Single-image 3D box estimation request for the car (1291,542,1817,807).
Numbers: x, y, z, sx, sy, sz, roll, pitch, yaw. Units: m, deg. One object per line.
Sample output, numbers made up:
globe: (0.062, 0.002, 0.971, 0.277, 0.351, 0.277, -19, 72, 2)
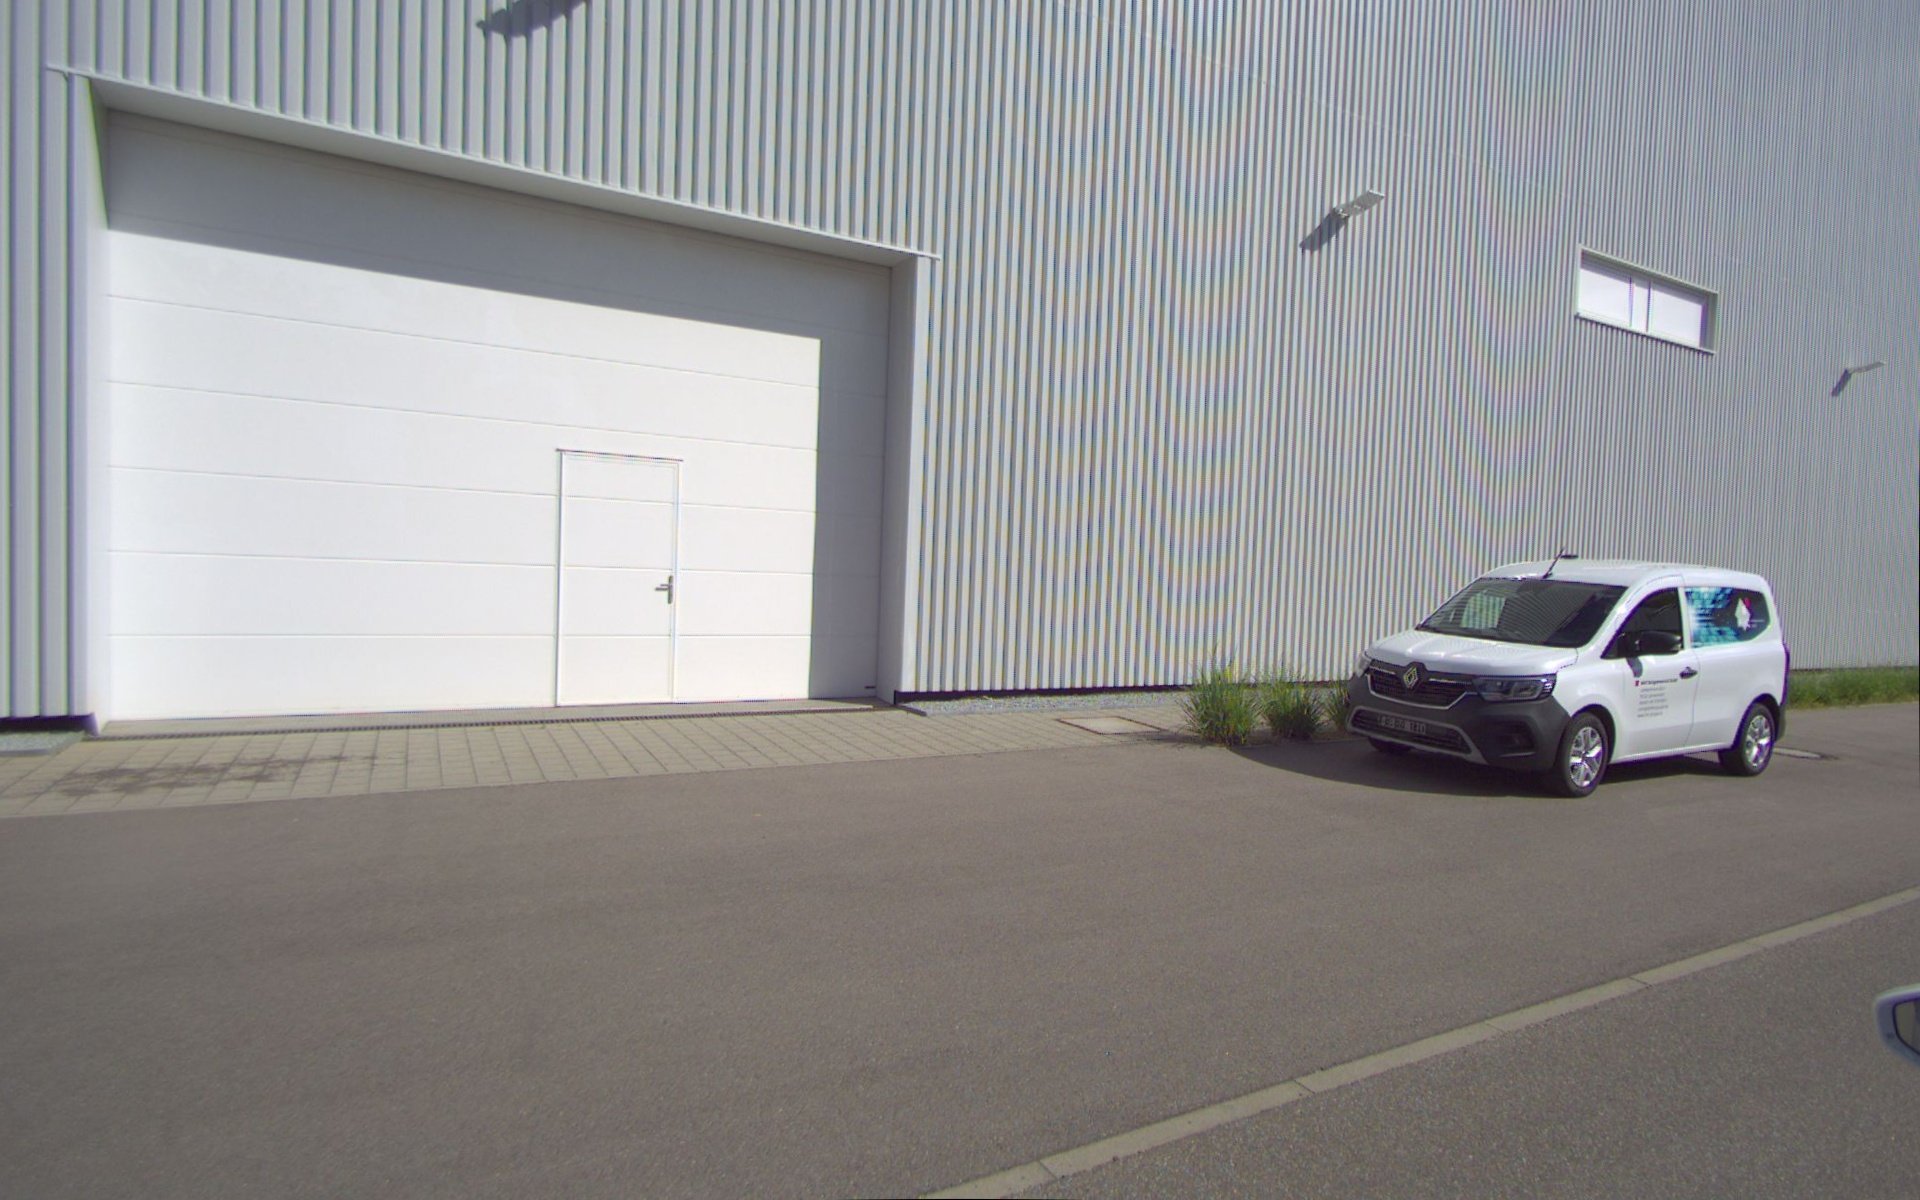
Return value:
car: (5.312, 0.509, 8.878, 4.542, 1.814, 1.919, 1, 3, -30)
